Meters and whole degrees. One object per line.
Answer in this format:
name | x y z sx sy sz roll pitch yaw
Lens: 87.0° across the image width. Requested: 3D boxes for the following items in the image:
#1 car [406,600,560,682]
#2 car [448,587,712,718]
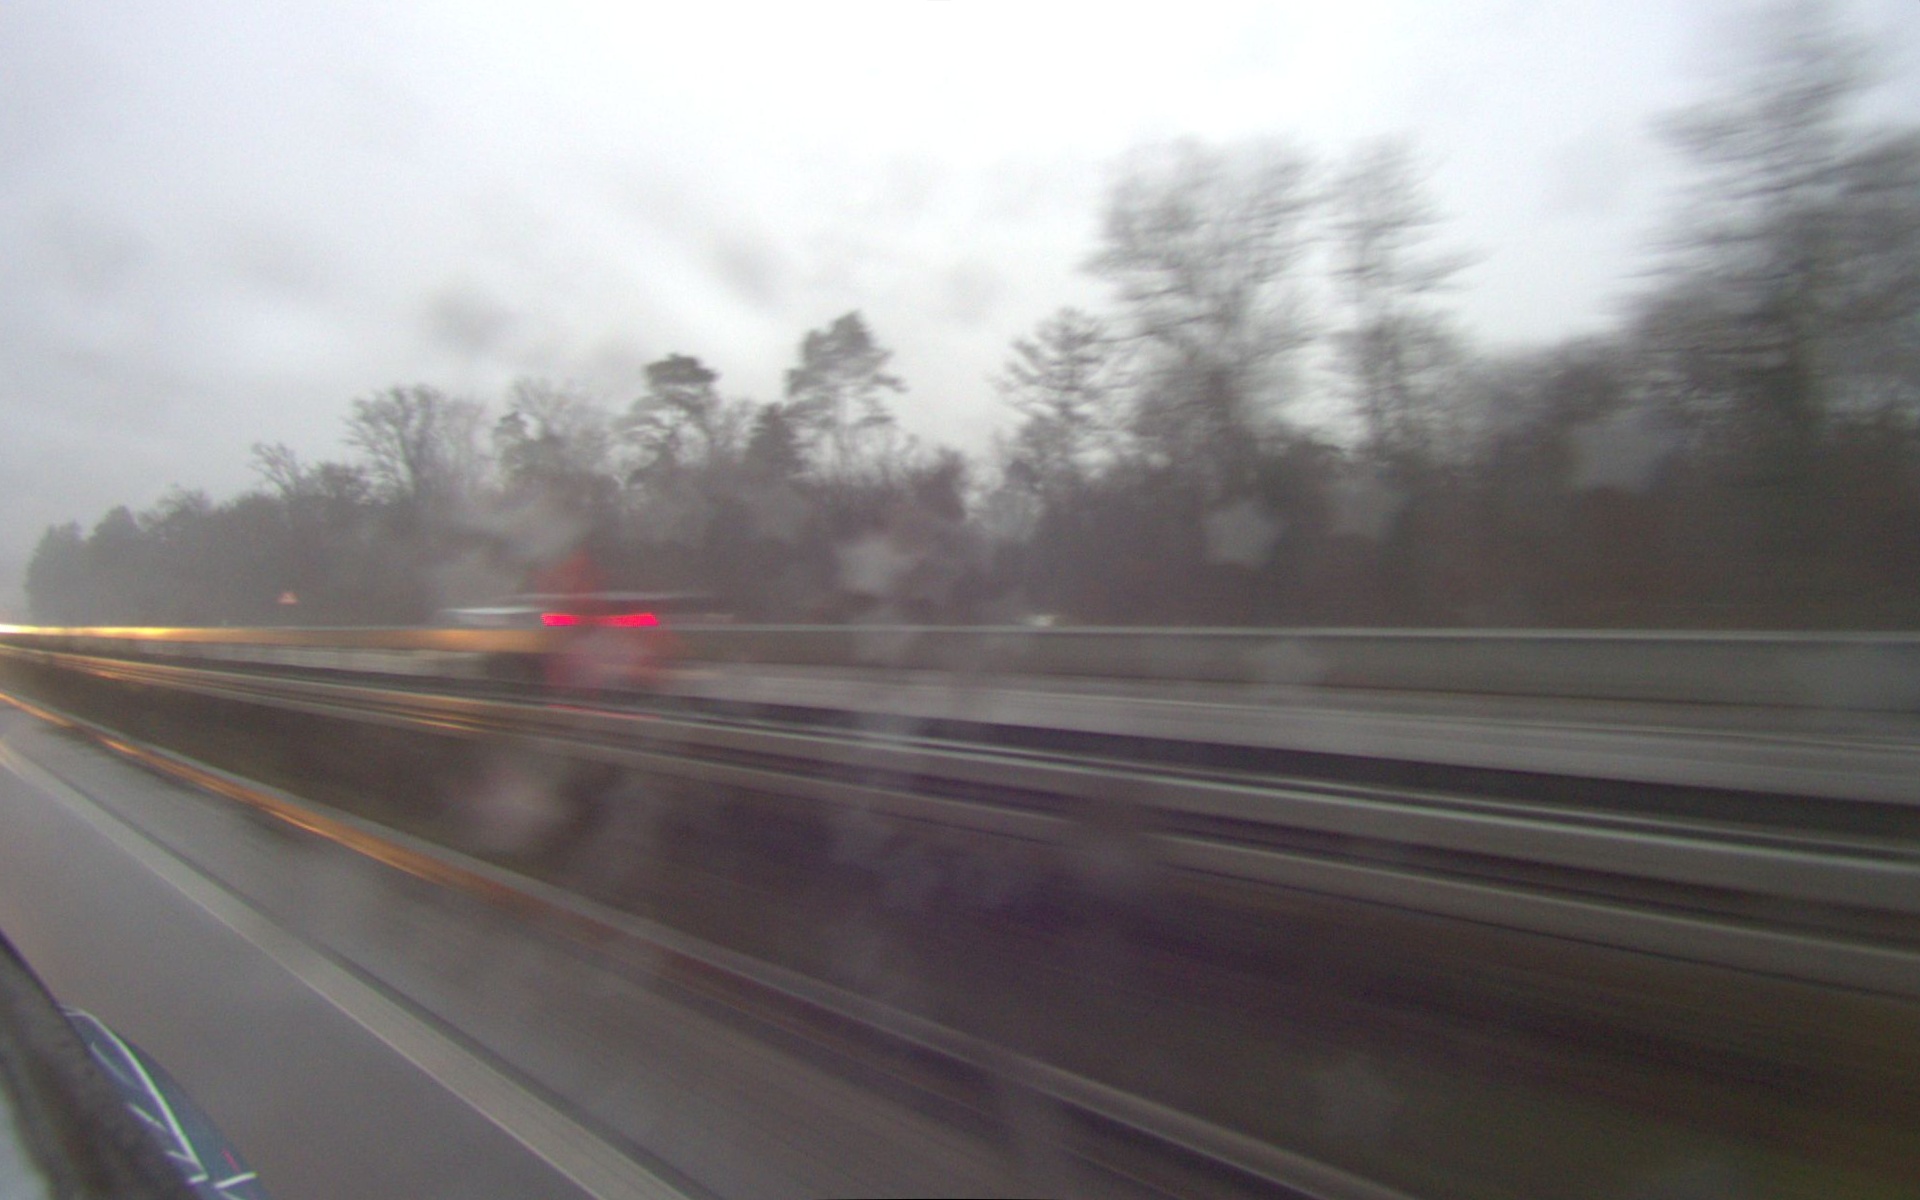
car | -11.416 0.913 24.098 4.423 1.760 1.702 -1 0 41
car | -4.970 0.580 12.923 4.123 1.406 1.526 -1 0 44
